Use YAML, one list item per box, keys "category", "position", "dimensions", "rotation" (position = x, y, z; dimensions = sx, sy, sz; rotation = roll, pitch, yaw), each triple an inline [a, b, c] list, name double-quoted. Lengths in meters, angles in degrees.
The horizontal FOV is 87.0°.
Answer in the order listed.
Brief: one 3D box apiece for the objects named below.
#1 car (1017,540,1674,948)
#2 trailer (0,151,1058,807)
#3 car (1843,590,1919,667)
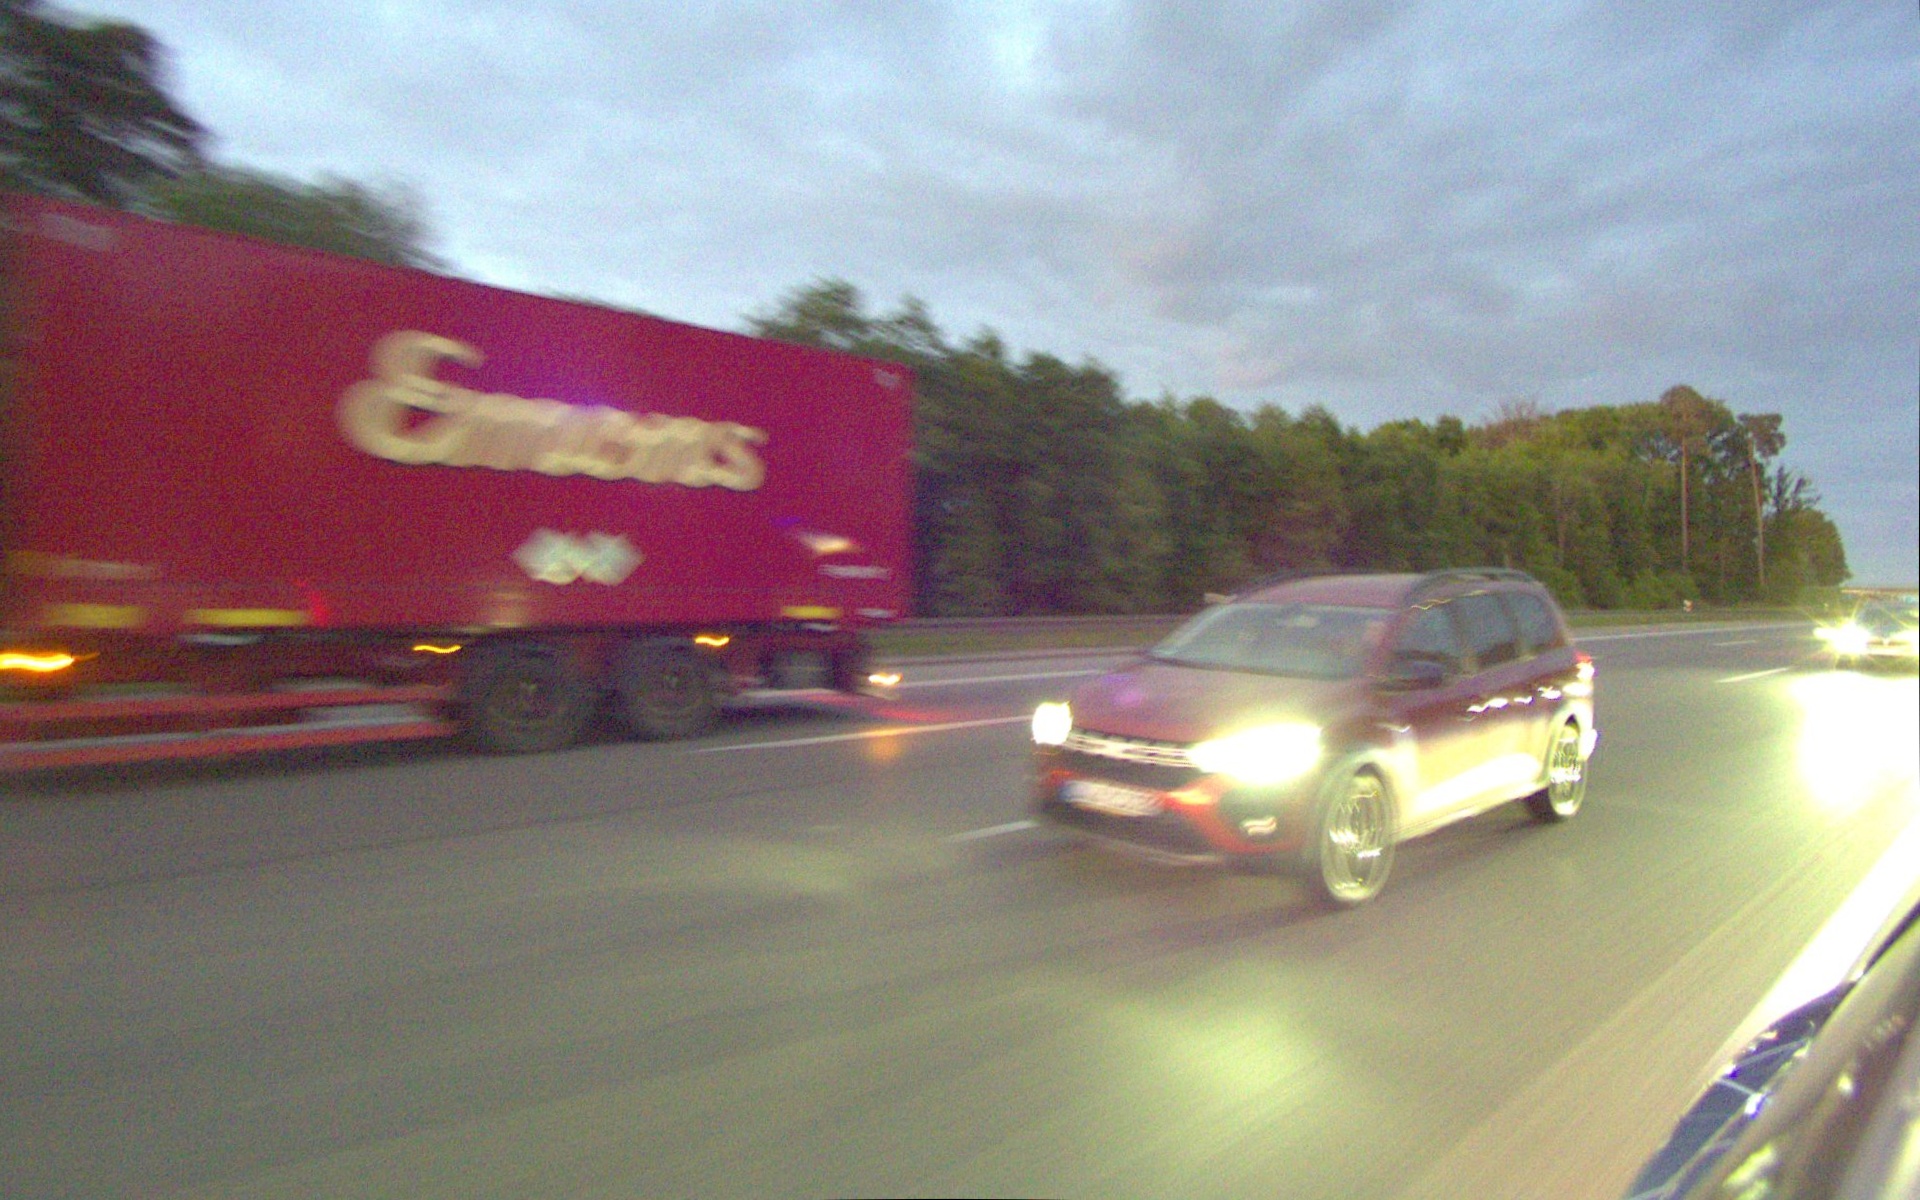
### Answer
- category: "car"
  position: [2.853, 0.558, 6.716]
  dimensions: [4.967, 1.664, 1.905]
  rotation: [-4, 0, -41]
- category: "trailer"
  position: [-3.580, -0.794, 10.476]
  dimensions: [10.175, 4.152, 2.913]
  rotation: [0, 1, -41]
- category: "car"
  position: [21.579, 0.581, 22.838]
  dimensions: [5.142, 1.556, 1.912]
  rotation: [-1, 2, -42]
